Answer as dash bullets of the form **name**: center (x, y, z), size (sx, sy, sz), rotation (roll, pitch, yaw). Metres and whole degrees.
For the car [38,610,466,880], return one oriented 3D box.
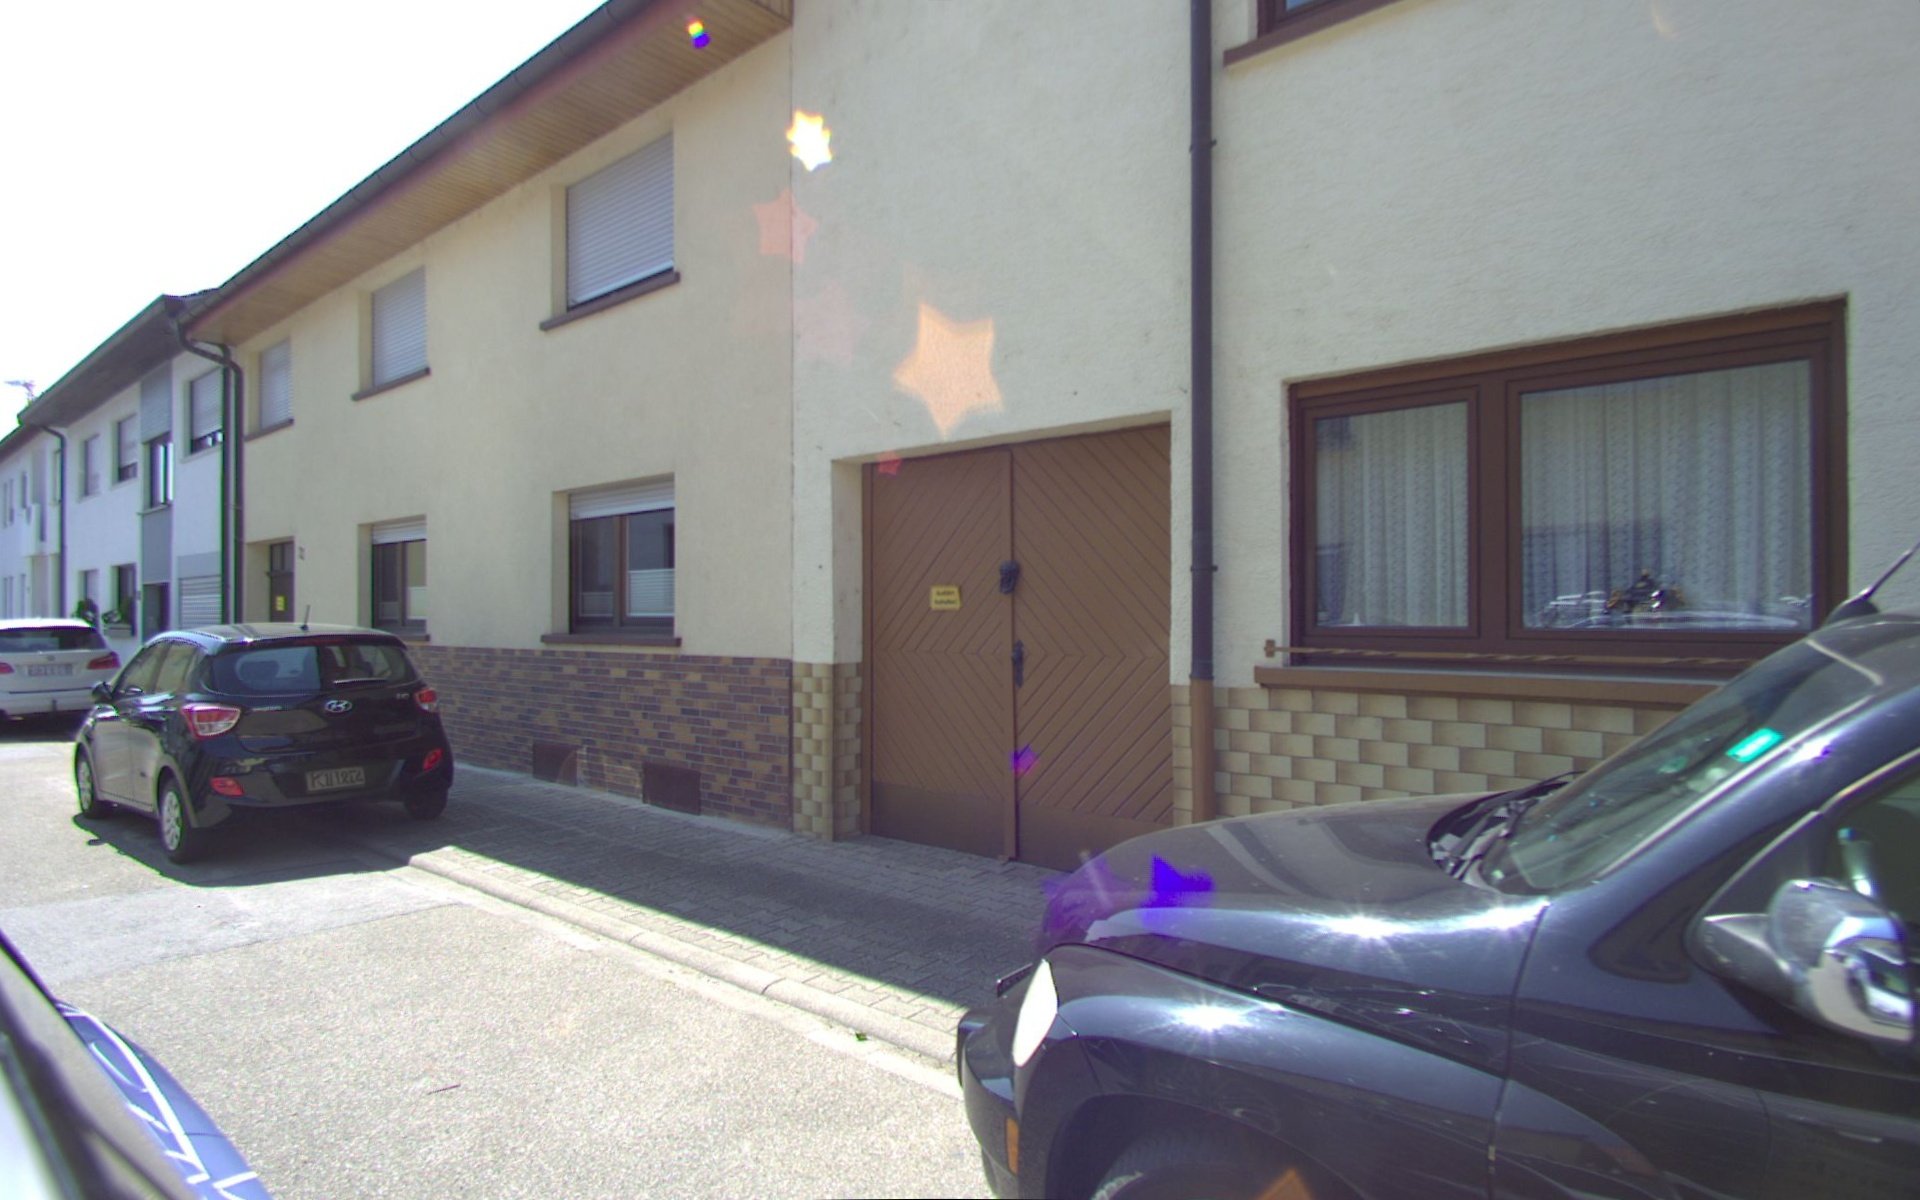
- **car**: center (-5.512, 0.876, 7.707), size (3.938, 1.549, 1.624), rotation (-1, -2, 39)

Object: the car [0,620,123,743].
- **car**: center (-13.880, 1.101, 14.813), size (3.936, 1.560, 1.647), rotation (-1, 1, 37)

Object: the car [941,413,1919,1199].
- **car**: center (1.980, 0.627, 1.280), size (3.990, 1.627, 1.703), rotation (-1, -2, 44)

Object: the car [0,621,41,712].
- **car**: center (-18.126, 1.177, 18.261), size (3.682, 1.553, 1.647), rotation (-1, -1, 37)
